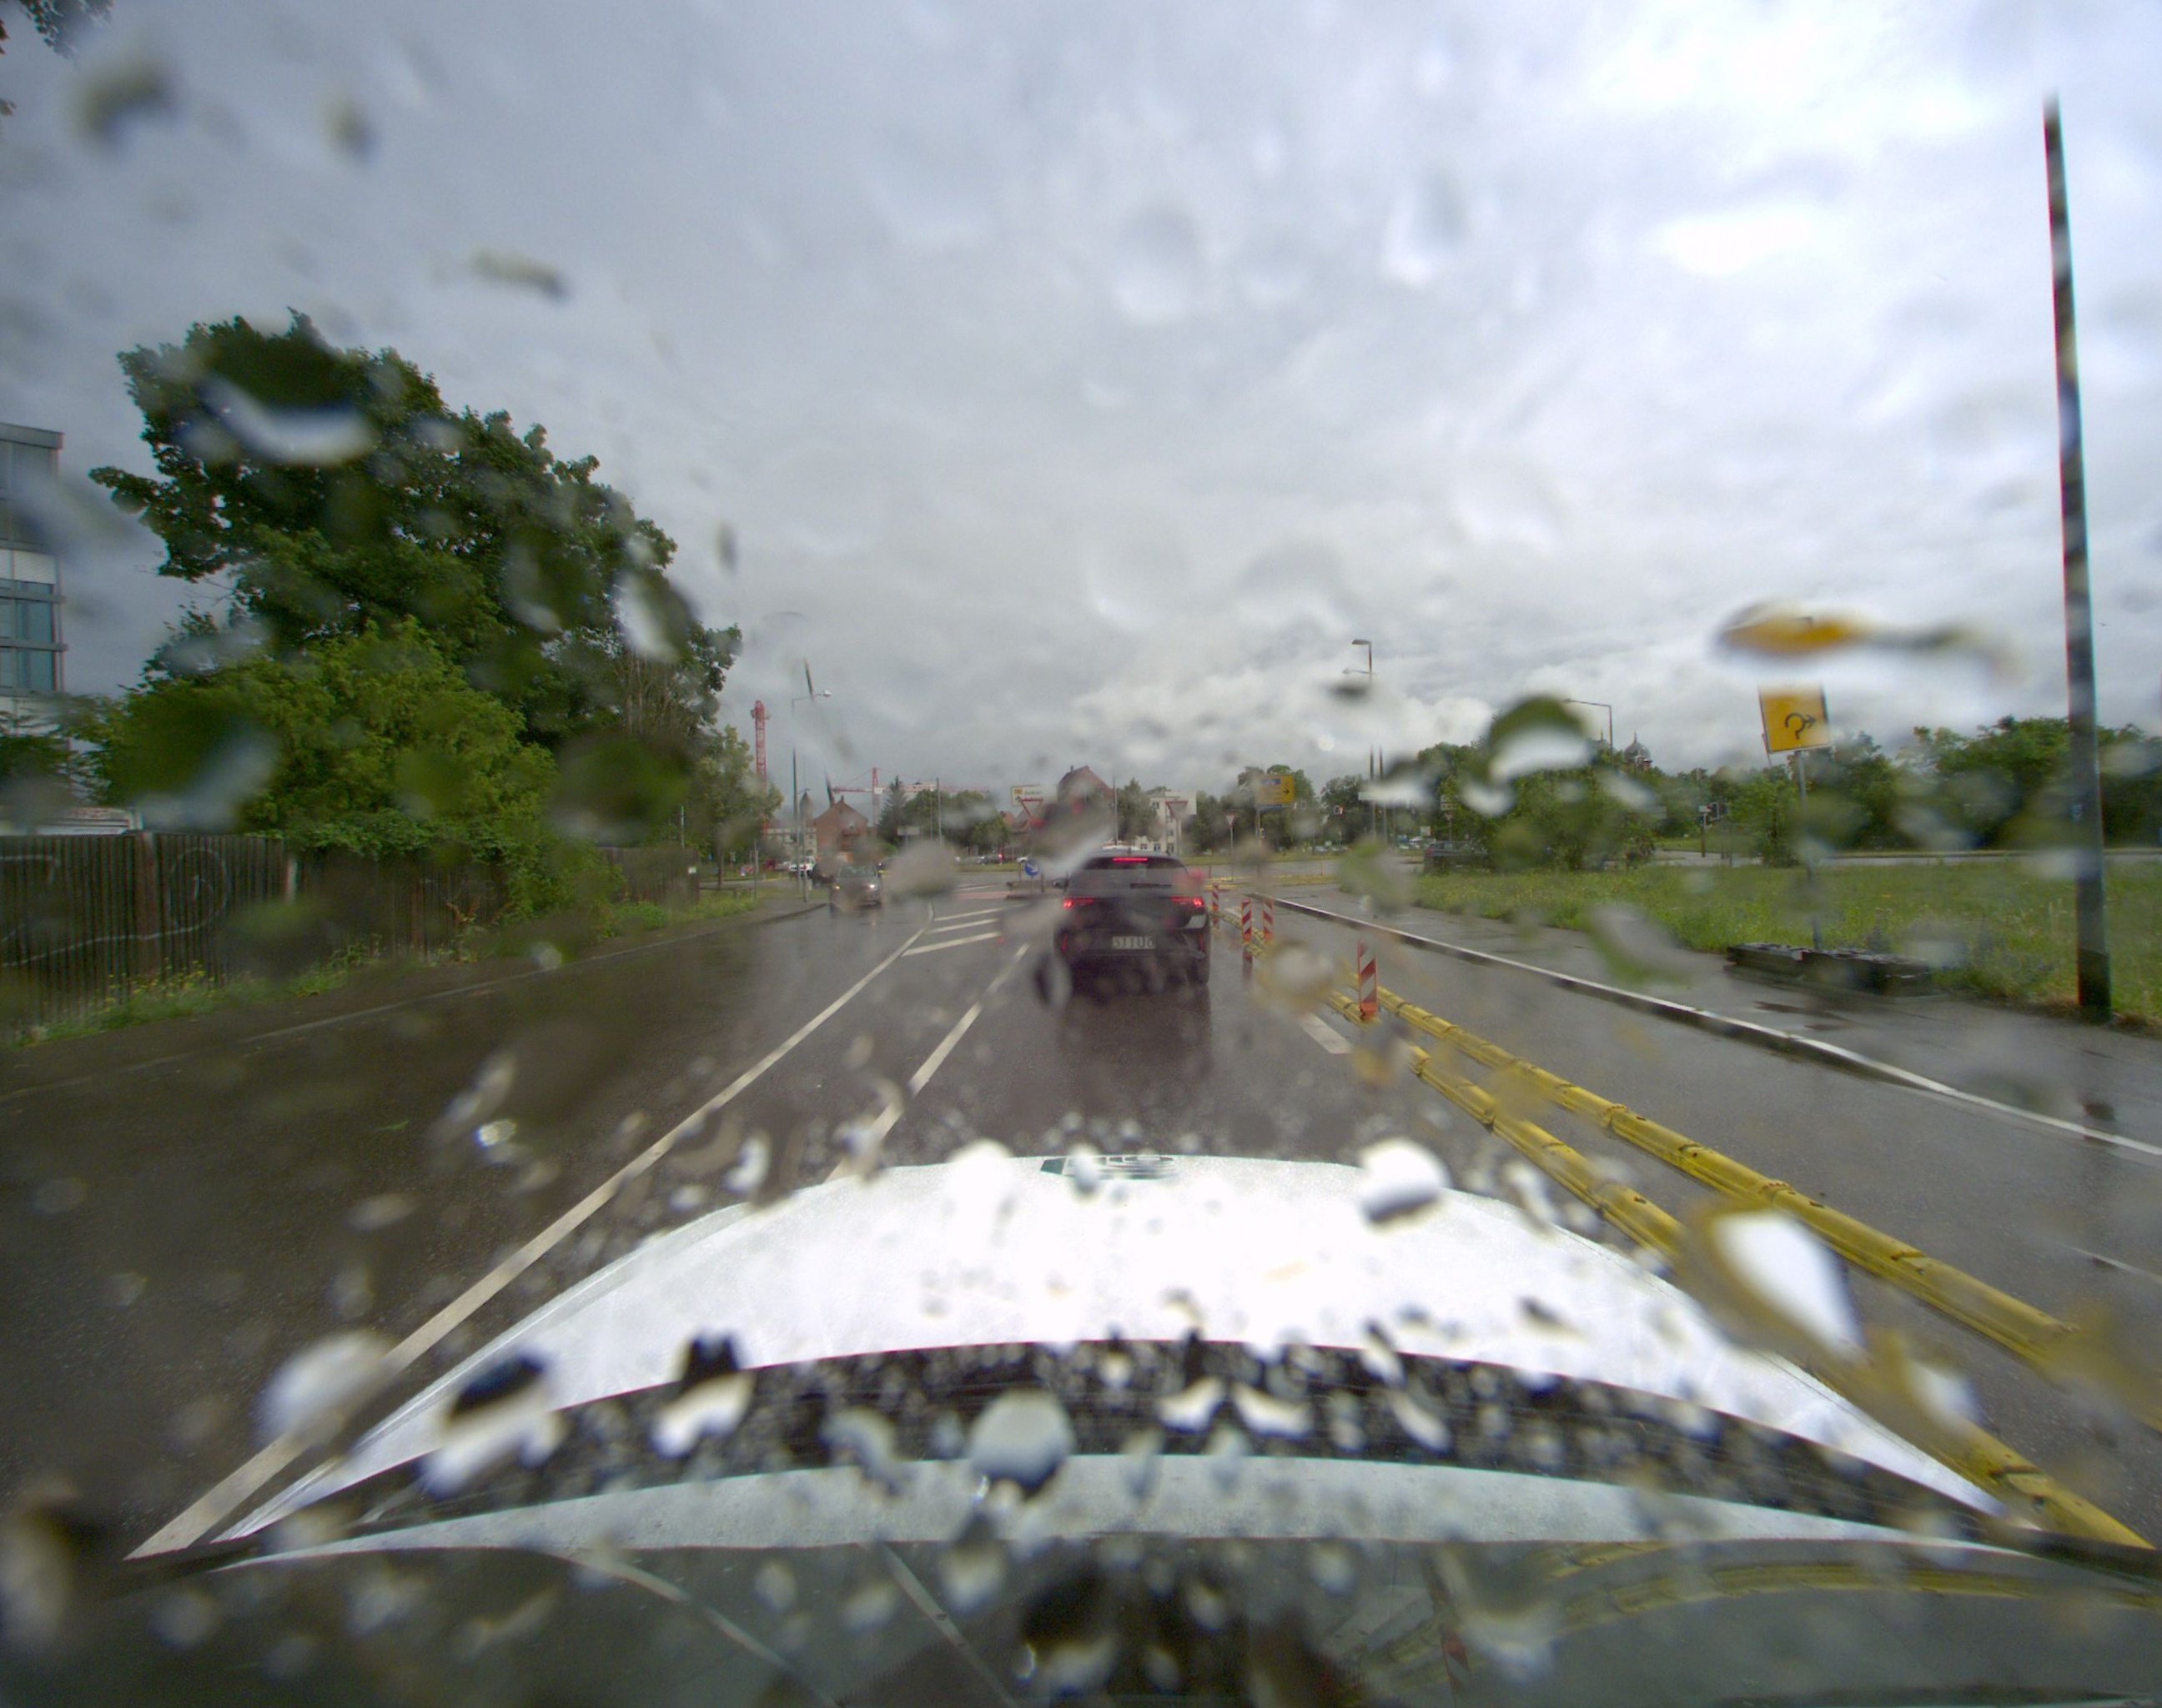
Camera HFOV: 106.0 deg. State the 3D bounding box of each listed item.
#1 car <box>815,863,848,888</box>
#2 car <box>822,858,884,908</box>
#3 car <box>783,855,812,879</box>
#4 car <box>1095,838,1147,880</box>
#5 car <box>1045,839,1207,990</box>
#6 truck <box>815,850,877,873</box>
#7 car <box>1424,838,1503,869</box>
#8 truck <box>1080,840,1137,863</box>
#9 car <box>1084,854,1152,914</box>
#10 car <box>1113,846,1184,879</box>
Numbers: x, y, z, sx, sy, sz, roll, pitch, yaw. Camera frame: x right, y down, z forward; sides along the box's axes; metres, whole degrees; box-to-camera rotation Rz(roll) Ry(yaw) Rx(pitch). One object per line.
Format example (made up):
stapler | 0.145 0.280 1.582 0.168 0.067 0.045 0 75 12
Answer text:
car | -15.700 1.347 51.243 1.880 1.482 4.152 -2 -1 -18
car | -8.300 1.007 29.450 1.787 1.552 4.397 -5 0 -19
car | -24.111 1.069 69.415 1.891 1.876 5.106 -2 0 -15
car | 1.948 0.201 38.462 1.852 1.809 4.417 -1 0 10
car | 0.447 0.645 10.518 1.704 1.574 3.681 -1 0 -1
truck | -27.786 0.864 96.290 6.736 2.442 2.414 -2 0 -25
car | 21.895 -0.016 46.780 3.908 1.644 1.679 -1 0 19
truck | 3.444 -0.287 103.146 7.044 2.650 2.329 -1 0 -1
car | 0.982 0.796 23.302 1.730 1.514 3.603 -1 0 0
car | 4.137 0.513 50.313 3.982 1.830 1.996 -2 0 -7
